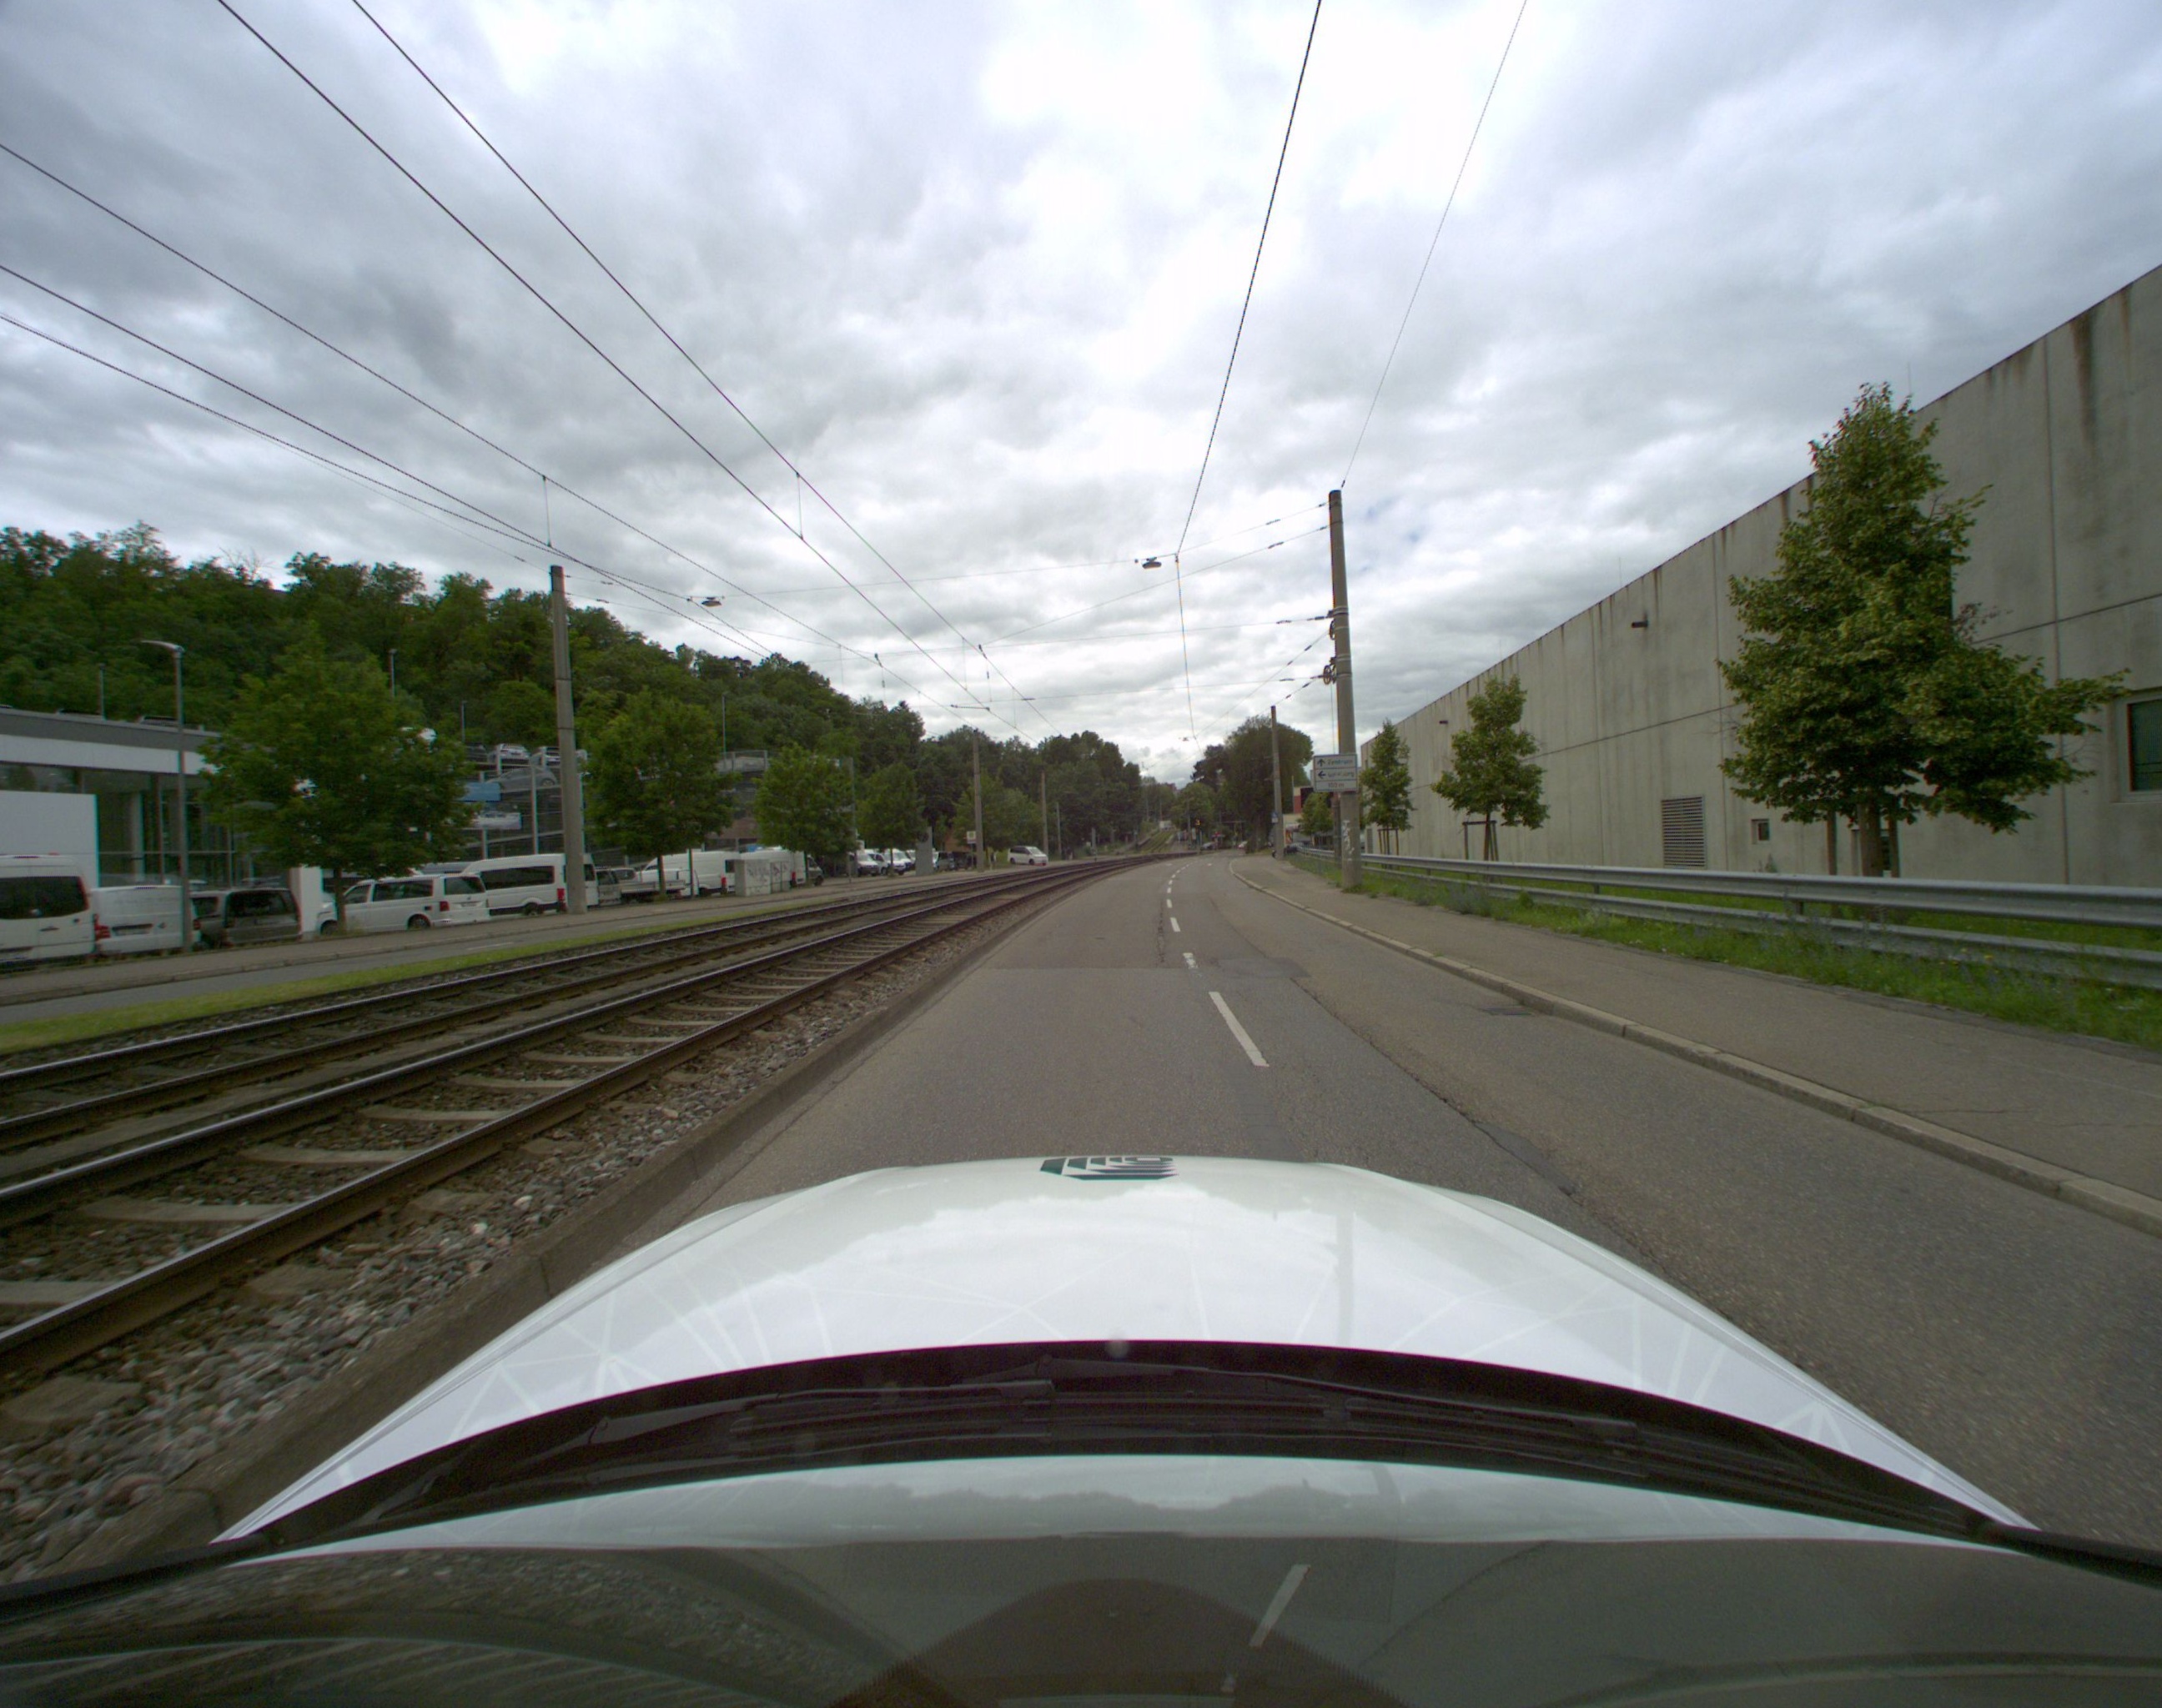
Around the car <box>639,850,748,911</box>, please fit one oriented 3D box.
[{"bbox_3d":[-19.328,1.292,40.737,4.344,2.819,2.007,-2,0,6],"label":"car"}]

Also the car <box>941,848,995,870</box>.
[{"bbox_3d":[-11.748,0.522,84.885,5.084,2.013,2.147,-3,0,-27],"label":"car"}]

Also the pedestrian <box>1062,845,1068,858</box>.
[{"bbox_3d":[-2.077,-0.328,104.742,0.624,1.713,0.858,-1,1,12],"label":"pedestrian"}]

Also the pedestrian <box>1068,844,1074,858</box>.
[{"bbox_3d":[-1.276,-0.370,104.574,0.672,1.813,0.858,-1,1,12],"label":"pedestrian"}]

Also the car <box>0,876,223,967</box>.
[{"bbox_3d":[-23.054,1.561,19.042,4.338,1.844,2.010,-2,0,10],"label":"car"}]

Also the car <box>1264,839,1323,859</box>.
[{"bbox_3d":[17.124,-0.421,65.719,4.179,1.443,1.774,-2,1,38],"label":"car"}]

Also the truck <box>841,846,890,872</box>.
[{"bbox_3d":[-23.882,0.579,90.387,5.006,2.588,2.485,-2,0,35],"label":"truck"}]

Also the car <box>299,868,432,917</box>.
[{"bbox_3d":[-32.823,1.747,37.408,4.811,2.013,2.007,-2,0,11],"label":"car"}]

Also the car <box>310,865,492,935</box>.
[{"bbox_3d":[-22.071,1.463,26.538,4.344,2.010,2.007,-2,0,6],"label":"car"}]

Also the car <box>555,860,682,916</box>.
[{"bbox_3d":[-20.156,1.466,35.596,4.344,2.172,2.007,-2,0,6],"label":"car"}]

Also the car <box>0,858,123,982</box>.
[{"bbox_3d":[-22.584,1.336,16.456,4.468,2.311,2.132,-2,0,10],"label":"car"}]

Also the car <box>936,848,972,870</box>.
[{"bbox_3d":[-12.500,0.487,80.434,1.982,2.013,5.142,-2,0,8],"label":"car"}]

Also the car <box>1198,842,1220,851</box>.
[{"bbox_3d":[23.864,-1.366,151.520,4.277,1.532,1.672,2,-6,-40],"label":"car"}]

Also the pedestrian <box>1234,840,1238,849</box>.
[{"bbox_3d":[31.870,-1.943,167.581,0.763,1.852,0.913,-2,0,13],"label":"pedestrian"}]

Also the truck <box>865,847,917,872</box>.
[{"bbox_3d":[-21.600,0.626,92.449,5.703,2.588,2.485,-2,0,35],"label":"truck"}]

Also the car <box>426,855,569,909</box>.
[{"bbox_3d":[-31.871,1.476,44.736,5.953,2.602,1.991,-3,0,-20],"label":"car"}]

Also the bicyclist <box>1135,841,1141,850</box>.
[{"bbox_3d":[11.612,-1.733,166.489,1.041,1.849,0.826,-2,0,11],"label":"bicyclist"}]

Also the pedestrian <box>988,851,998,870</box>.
[{"bbox_3d":[-7.638,0.561,71.003,0.715,1.655,1.043,0,1,2],"label":"pedestrian"}]

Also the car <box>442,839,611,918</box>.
[{"bbox_3d":[-20.770,0.874,30.627,4.941,2.698,2.119,-2,0,6],"label":"car"}]

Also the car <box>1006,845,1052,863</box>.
[{"bbox_3d":[-5.593,-0.018,87.460,5.009,1.887,2.179,0,1,44],"label":"car"}]

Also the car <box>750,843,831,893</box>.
[{"bbox_3d":[-19.123,0.822,53.994,2.094,3.019,5.957,-2,0,12],"label":"car"}]

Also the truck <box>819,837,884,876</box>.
[{"bbox_3d":[-19.315,0.251,68.483,5.862,3.084,2.133,-2,0,39],"label":"truck"}]

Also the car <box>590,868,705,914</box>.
[{"bbox_3d":[-20.443,1.725,38.510,4.344,1.910,2.007,-2,0,6],"label":"car"}]

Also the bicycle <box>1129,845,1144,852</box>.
[{"bbox_3d":[11.395,-1.188,166.546,2.967,1.343,0.829,-3,0,10],"label":"bicycle"}]

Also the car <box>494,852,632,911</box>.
[{"bbox_3d":[-21.122,1.083,33.317,4.344,2.172,2.007,-2,0,6],"label":"car"}]

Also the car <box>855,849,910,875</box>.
[{"bbox_3d":[-17.231,0.698,70.702,4.669,2.013,2.013,-2,1,37],"label":"car"}]

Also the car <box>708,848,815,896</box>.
[{"bbox_3d":[-19.024,1.046,48.617,5.439,2.602,2.253,-2,0,9],"label":"car"}]

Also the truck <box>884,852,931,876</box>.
[{"bbox_3d":[-20.249,1.163,94.916,5.006,2.588,2.485,-2,0,35],"label":"truck"}]

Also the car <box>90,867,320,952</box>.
[{"bbox_3d":[-22.866,1.410,21.332,4.338,1.947,2.010,-2,0,10],"label":"car"}]
